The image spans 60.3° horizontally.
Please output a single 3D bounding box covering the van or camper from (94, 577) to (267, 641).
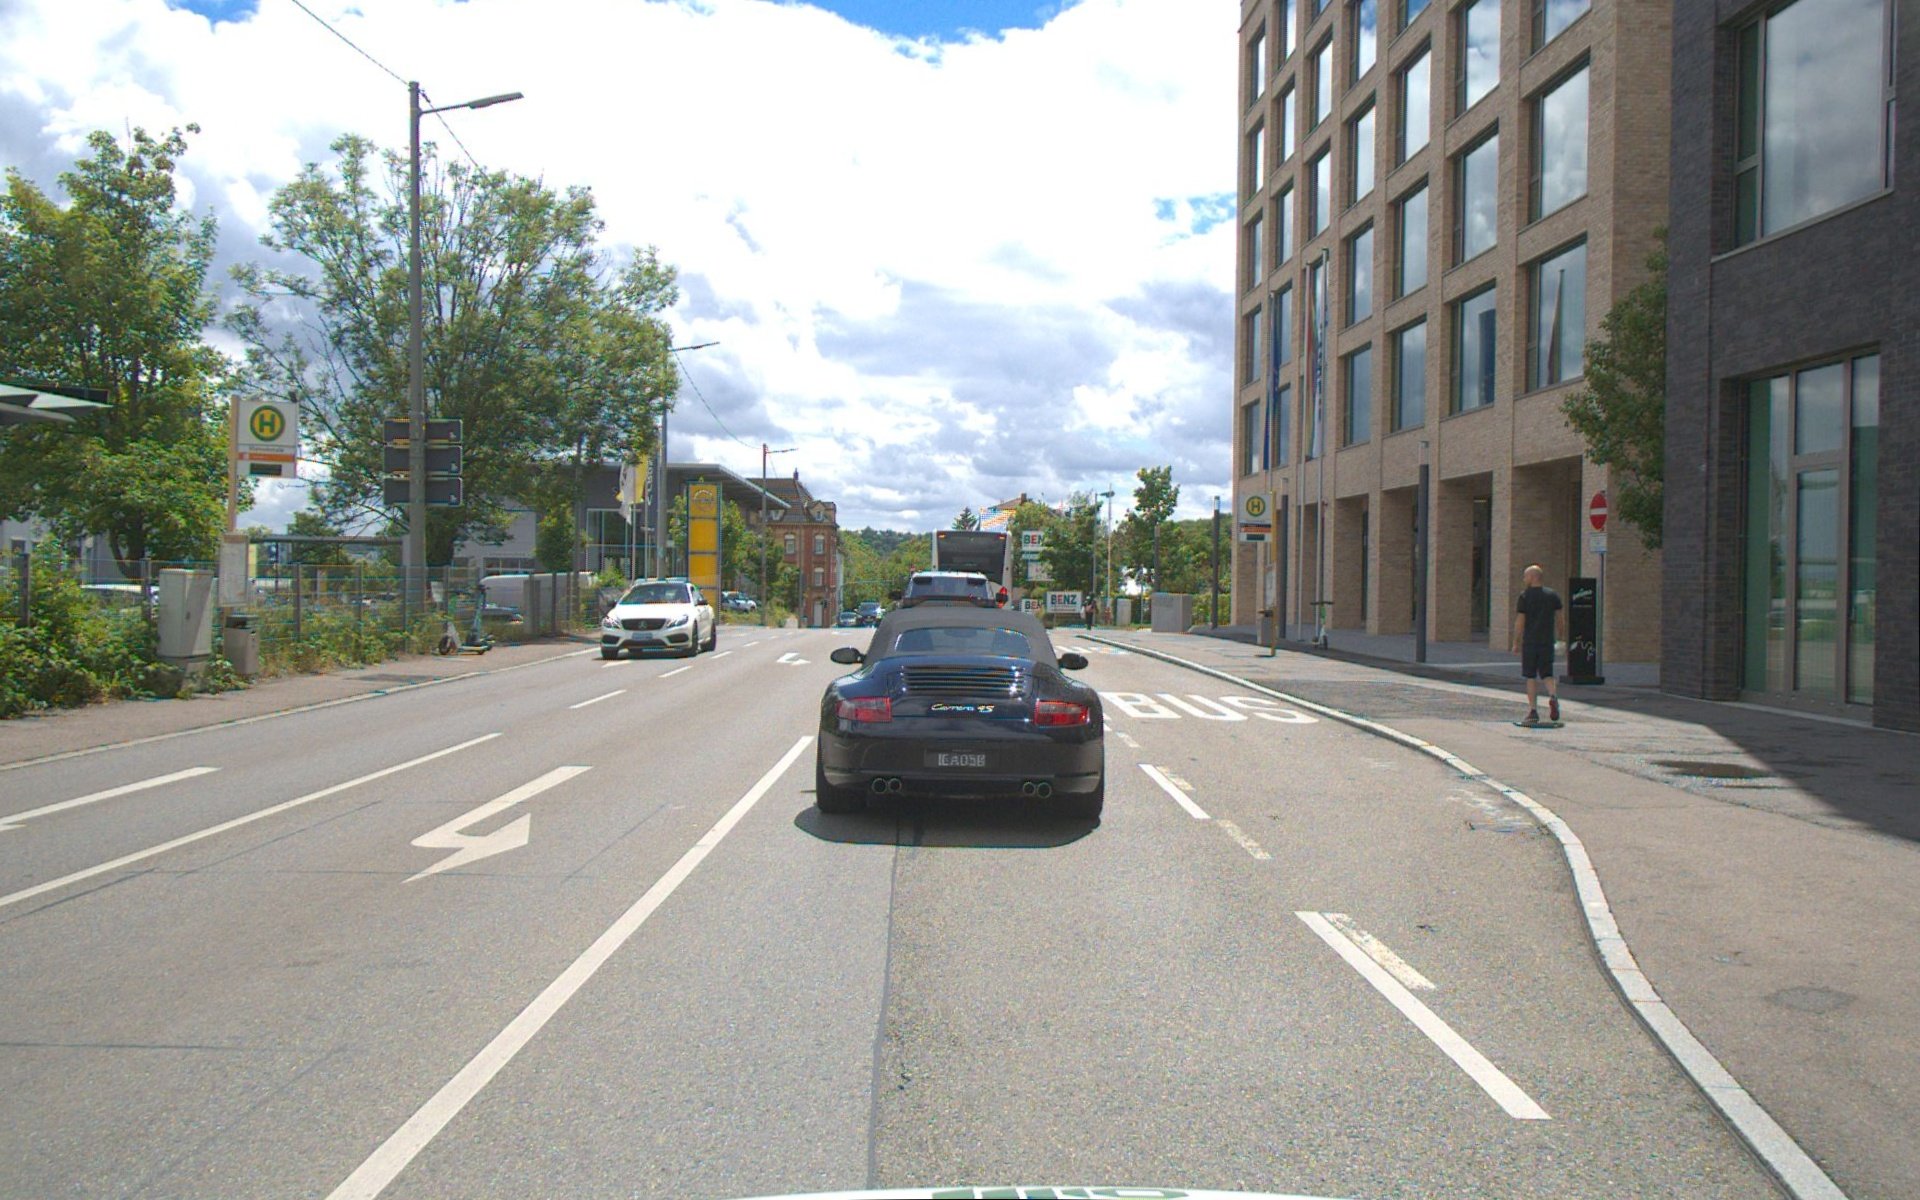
[{"bbox_3d":[-29.944,0.335,63.767,5.795,2.396,2.489,0,0,-20],"label":"van or camper"}]

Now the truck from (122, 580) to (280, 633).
[{"bbox_3d":[-33.567,0.317,73.413,6.205,2.268,2.683,0,-2,-22],"label":"truck"}]

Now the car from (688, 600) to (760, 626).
[{"bbox_3d":[-13.996,0.751,98.546,1.858,1.476,4.828,1,1,26],"label":"car"}]

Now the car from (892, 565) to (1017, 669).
[{"bbox_3d":[-0.168,0.247,28.184,1.892,1.610,4.205,1,0,-3],"label":"car"}]

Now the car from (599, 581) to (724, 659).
[{"bbox_3d":[-5.858,0.346,32.907,1.760,1.400,4.224,-1,1,-1],"label":"car"}]

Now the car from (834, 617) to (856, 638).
[{"bbox_3d":[-9.469,2.229,136.403,1.709,1.623,4.040,-2,0,-3],"label":"car"}]

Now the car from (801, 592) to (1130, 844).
[{"bbox_3d":[0.023,0.677,11.696,1.891,1.400,4.208,1,1,0],"label":"car"}]

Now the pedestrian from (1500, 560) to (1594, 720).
[{"bbox_3d":[6.650,0.439,18.777,0.669,1.758,0.962,1,0,-2],"label":"pedestrian"}]

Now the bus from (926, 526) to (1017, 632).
[{"bbox_3d":[0.383,-0.735,57.127,2.744,3.253,12.196,1,1,0],"label":"bus"}]

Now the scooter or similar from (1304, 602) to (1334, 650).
[{"bbox_3d":[8.896,0.630,41.015,0.418,1.173,1.403,0,0,-2],"label":"scooter or similar"}]

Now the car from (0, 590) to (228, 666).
[{"bbox_3d":[-16.611,0.519,31.840,4.186,1.405,1.867,0,0,3],"label":"car"}]

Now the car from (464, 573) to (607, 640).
[{"bbox_3d":[-13.589,0.184,53.191,4.078,2.049,2.197,1,1,-4],"label":"car"}]

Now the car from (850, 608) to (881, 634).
[{"bbox_3d":[-5.569,1.265,97.722,1.793,1.535,4.274,0,-1,-3],"label":"car"}]

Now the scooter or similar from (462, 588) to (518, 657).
[{"bbox_3d":[-9.060,0.419,31.910,0.523,1.288,1.472,2,0,4],"label":"scooter or similar"}]

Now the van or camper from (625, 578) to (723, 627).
[{"bbox_3d":[-15.520,0.101,89.912,4.925,2.575,2.317,1,1,-2],"label":"van or camper"}]

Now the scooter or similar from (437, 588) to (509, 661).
[{"bbox_3d":[-8.942,0.440,30.414,0.523,1.284,1.472,2,0,16],"label":"scooter or similar"}]

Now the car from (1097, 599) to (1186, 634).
[{"bbox_3d":[10.217,0.958,93.253,4.620,1.881,2.084,-1,-2,-9],"label":"car"}]

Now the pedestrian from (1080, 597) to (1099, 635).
[{"bbox_3d":[5.312,0.651,67.938,0.673,1.563,0.856,0,0,-2],"label":"pedestrian"}]

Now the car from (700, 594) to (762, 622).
[{"bbox_3d":[-14.321,0.523,103.648,1.891,1.600,4.552,0,-2,22],"label":"car"}]
